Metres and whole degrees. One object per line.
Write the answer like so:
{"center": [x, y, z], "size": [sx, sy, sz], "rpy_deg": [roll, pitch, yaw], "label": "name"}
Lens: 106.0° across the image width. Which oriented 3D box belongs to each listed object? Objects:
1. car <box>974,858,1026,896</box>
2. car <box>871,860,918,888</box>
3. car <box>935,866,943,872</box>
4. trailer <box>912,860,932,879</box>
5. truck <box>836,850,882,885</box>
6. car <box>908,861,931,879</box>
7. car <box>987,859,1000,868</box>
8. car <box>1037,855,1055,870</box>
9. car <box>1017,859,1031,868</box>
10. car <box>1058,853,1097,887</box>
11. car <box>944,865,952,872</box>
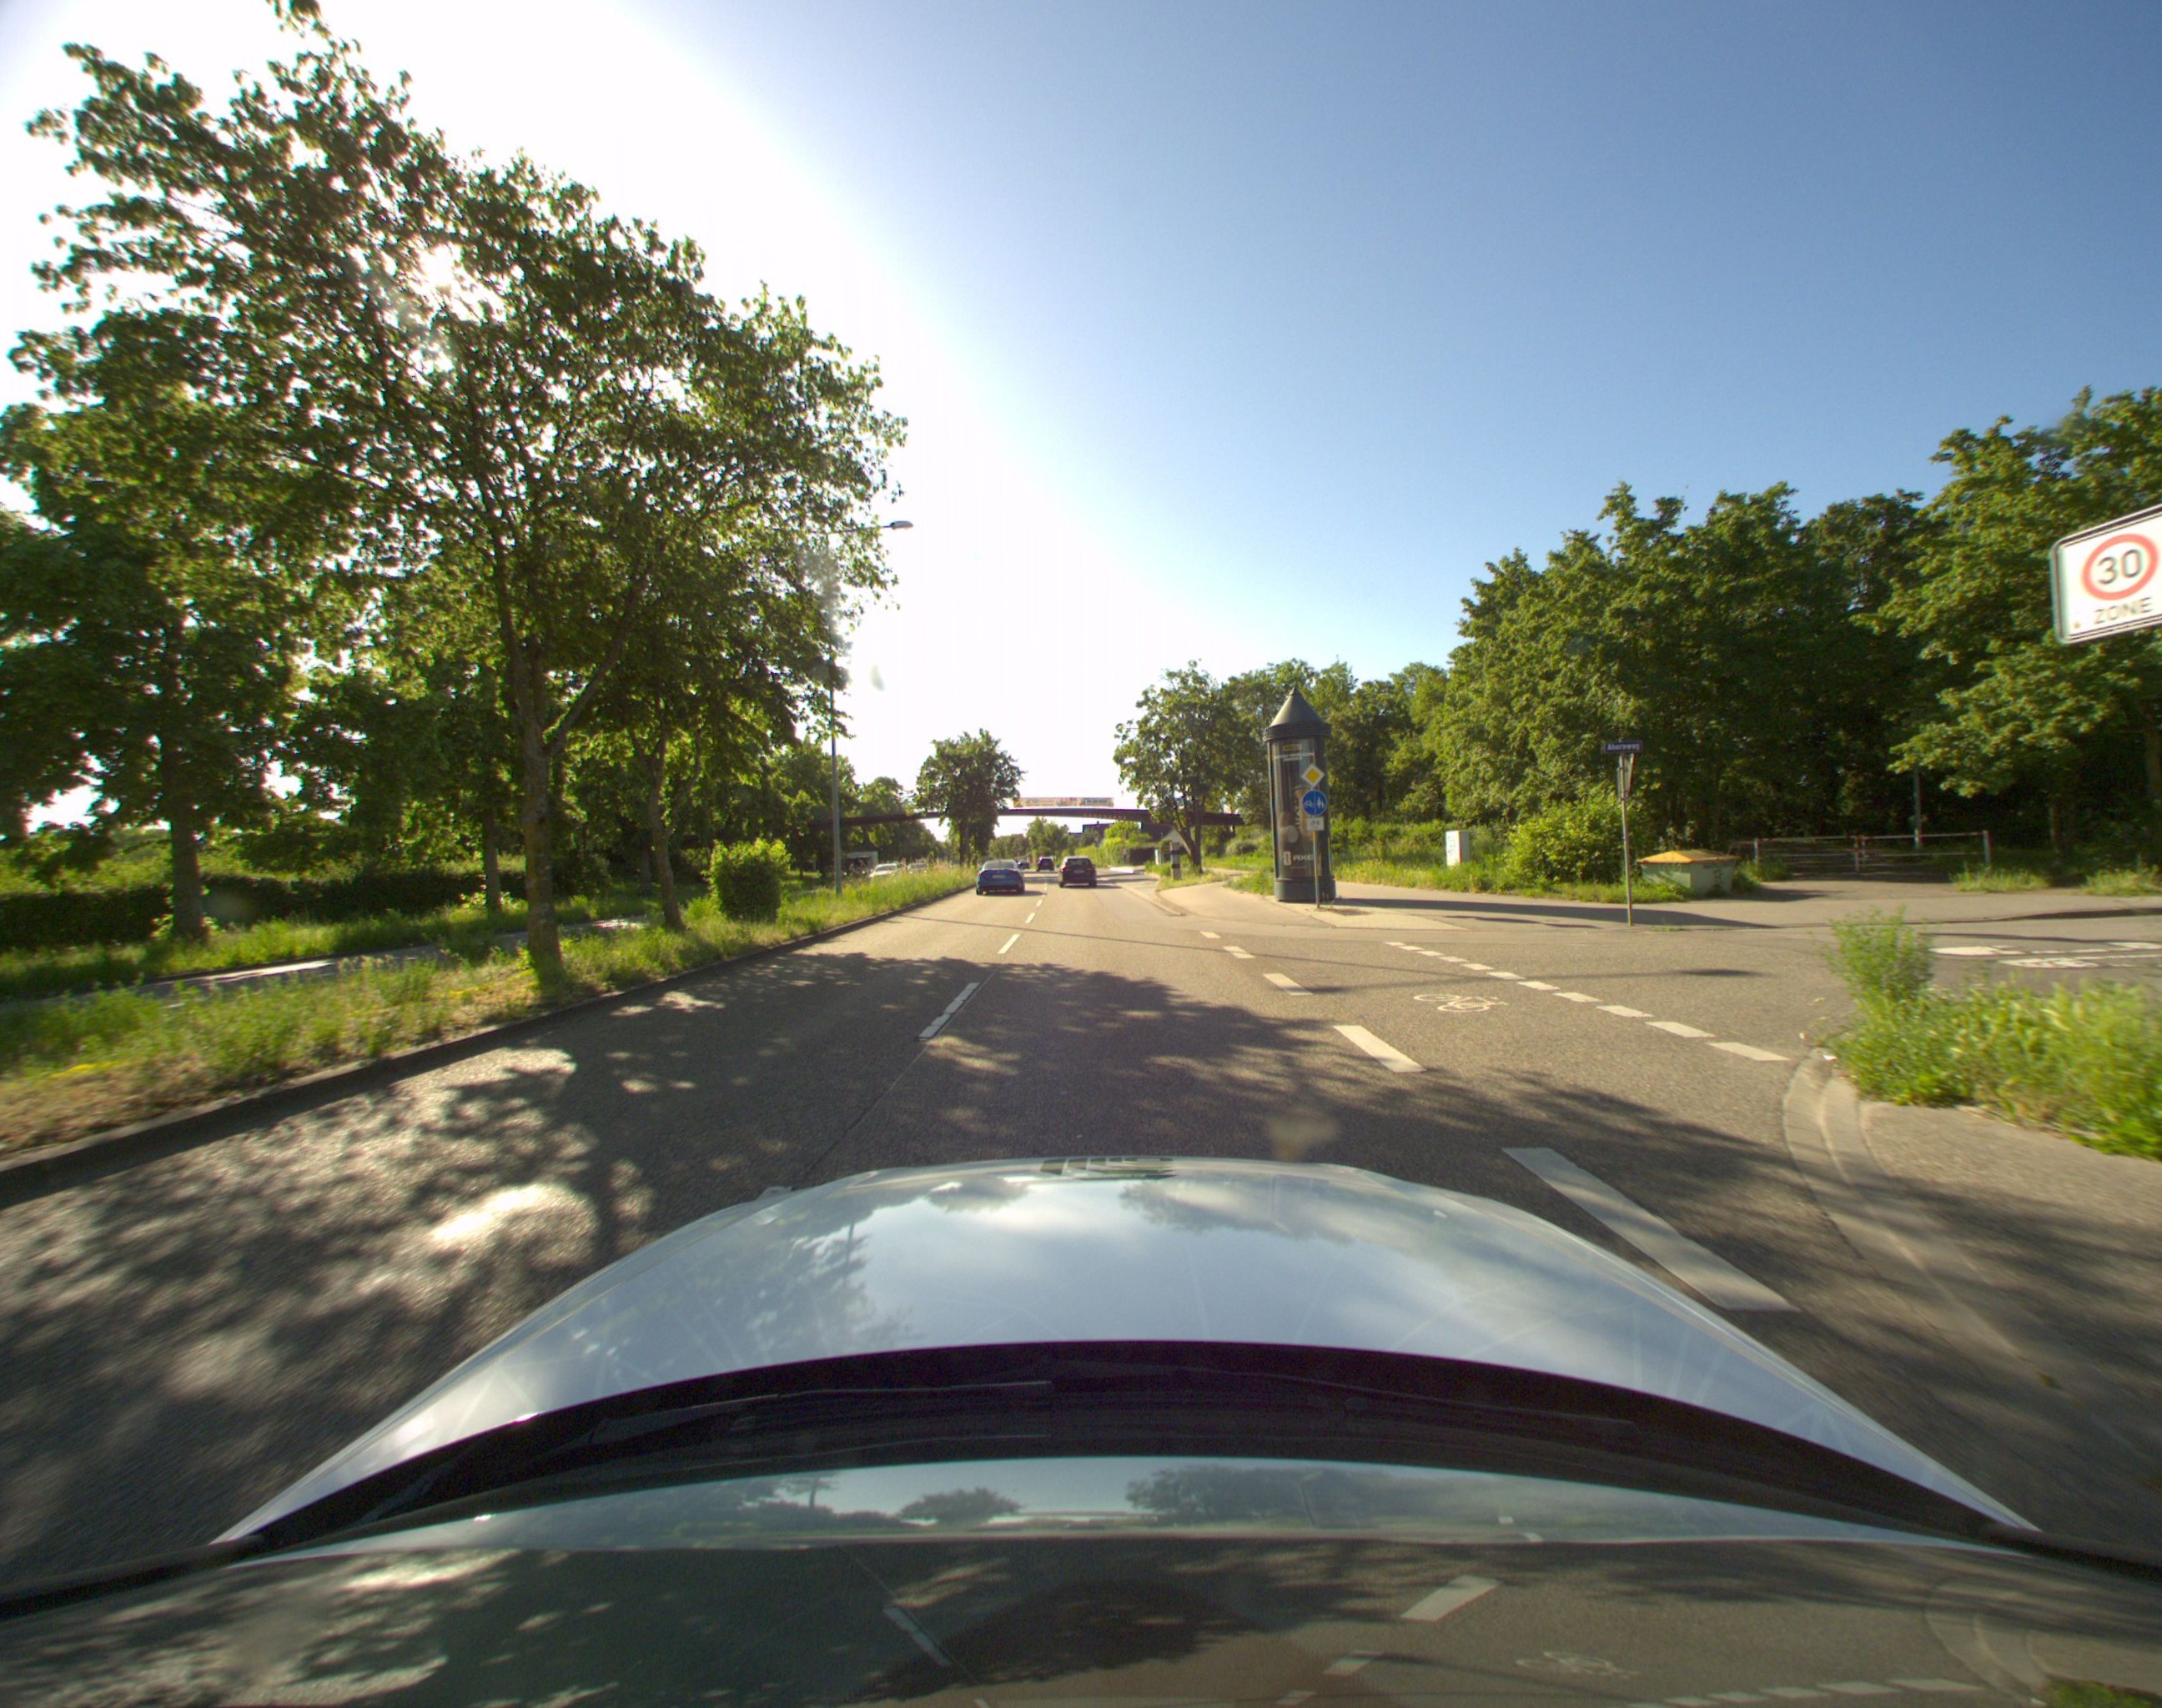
{"center": [-3.307, 0.911, 34.040], "size": [1.991, 1.405, 3.994], "rpy_deg": [-1, 0, -4], "label": "car"}
{"center": [-12.341, 1.262, 54.243], "size": [1.851, 1.606, 5.572], "rpy_deg": [-4, 0, -1], "label": "car"}
{"center": [-39.823, 4.189, 228.217], "size": [1.808, 1.500, 4.574], "rpy_deg": [-1, 0, -14], "label": "car"}
{"center": [-16.244, 1.564, 83.333], "size": [1.561, 1.910, 4.272], "rpy_deg": [-2, 0, -7], "label": "trailer"}
{"center": [-17.533, 1.052, 64.611], "size": [2.167, 2.512, 5.736], "rpy_deg": [-4, 0, -2], "label": "truck"}
{"center": [-15.727, 1.609, 79.379], "size": [1.693, 1.582, 4.016], "rpy_deg": [-3, -2, -5], "label": "car"}
{"center": [-14.857, 1.563, 137.954], "size": [1.898, 1.356, 3.988], "rpy_deg": [-2, 0, -8], "label": "car"}
{"center": [-3.837, 0.899, 89.431], "size": [1.741, 1.597, 4.166], "rpy_deg": [-2, 0, -6], "label": "car"}
{"center": [-8.941, 1.502, 126.853], "size": [1.898, 1.356, 3.988], "rpy_deg": [-2, 0, -8], "label": "car"}
{"center": [-0.127, 0.789, 39.398], "size": [1.754, 1.559, 4.001], "rpy_deg": [-1, -1, 2], "label": "car"}
{"center": [-31.678, 3.468, 193.988], "size": [1.730, 1.632, 4.185], "rpy_deg": [-3, 0, -9], "label": "car"}
